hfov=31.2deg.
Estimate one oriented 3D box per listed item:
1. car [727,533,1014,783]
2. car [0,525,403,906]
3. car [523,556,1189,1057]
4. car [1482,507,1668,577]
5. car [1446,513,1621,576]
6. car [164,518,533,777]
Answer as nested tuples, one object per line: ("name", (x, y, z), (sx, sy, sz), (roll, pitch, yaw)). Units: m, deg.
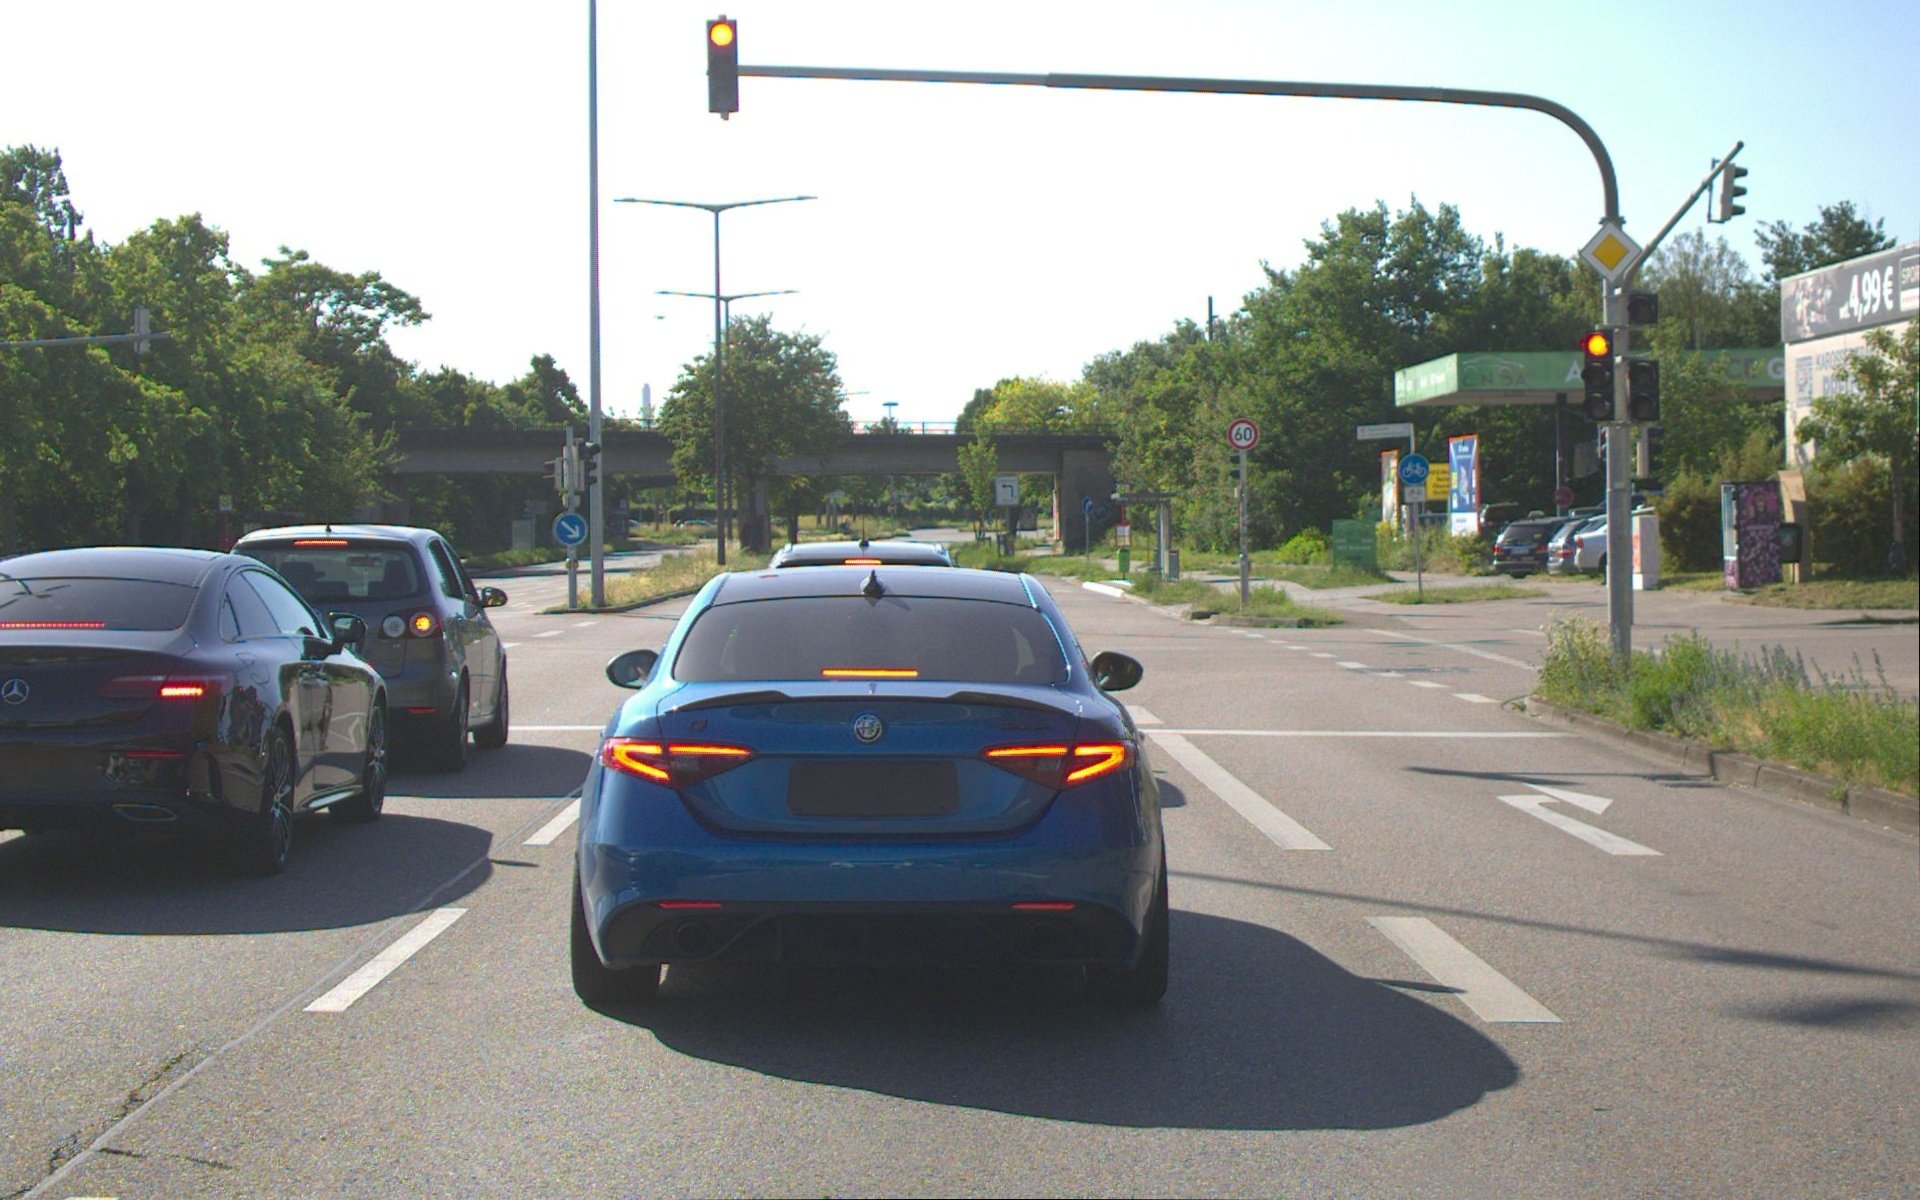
("car", (-0.516, 0.336, 22.756), (1.704, 1.492, 3.719), (1, 0, 1))
("car", (-3.868, 0.425, 16.254), (1.812, 1.546, 4.544), (0, 1, -1))
("car", (-0.264, 0.581, 11.810), (1.910, 1.418, 3.719), (1, 0, 1))
("car", (14.341, -1.354, 80.294), (3.987, 1.547, 2.000), (1, 0, 1))
("car", (14.840, -1.427, 89.002), (3.986, 1.547, 2.001), (1, 0, -17))
("car", (-3.982, 0.270, 23.057), (1.812, 1.546, 4.354), (1, 0, -2))
